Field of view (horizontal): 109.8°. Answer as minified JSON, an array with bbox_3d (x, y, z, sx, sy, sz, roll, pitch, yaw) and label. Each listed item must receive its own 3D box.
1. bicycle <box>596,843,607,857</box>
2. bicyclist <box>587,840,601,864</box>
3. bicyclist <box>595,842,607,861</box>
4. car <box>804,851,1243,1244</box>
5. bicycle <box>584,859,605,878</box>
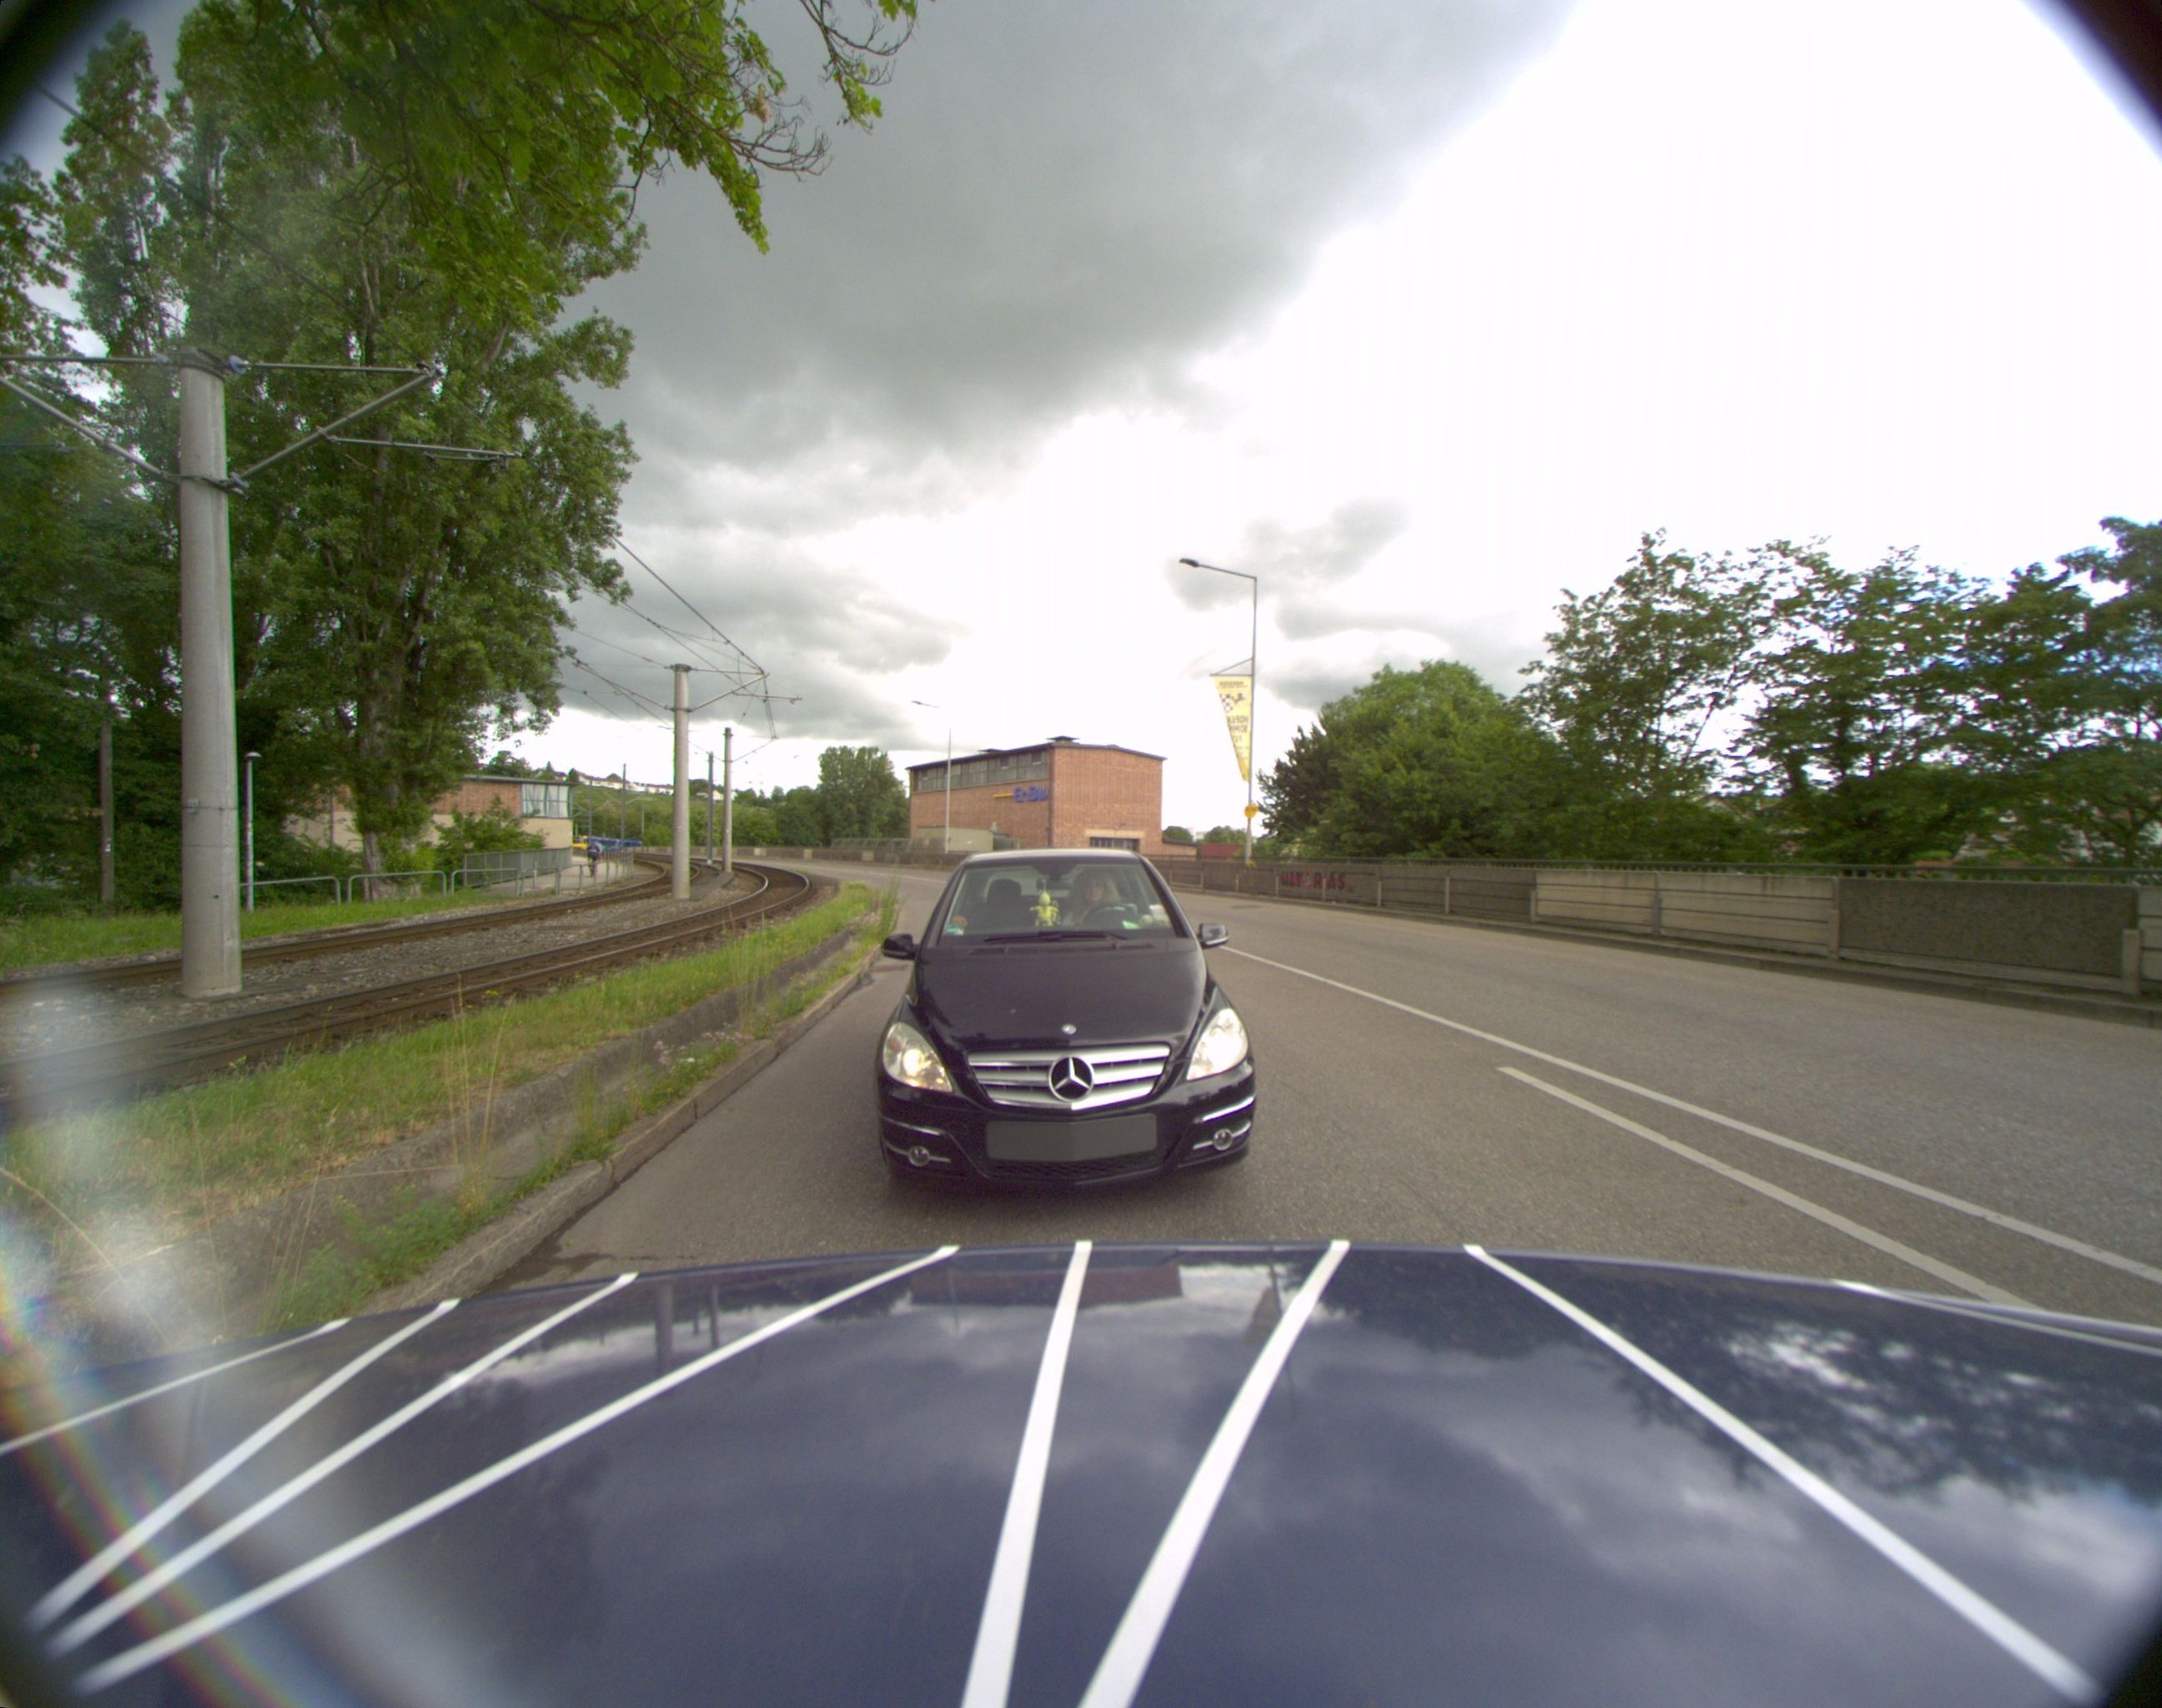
[{"bbox_3d":[-36.309,-0.273,57.536,0.428,1.044,2.074,-2,1,-40],"label":"bicycle"},{"bbox_3d":[-21.683,-0.097,33.830,0.417,1.077,0.474,0,1,-14],"label":"bicyclist"},{"bbox_3d":[-36.273,-0.184,57.450,0.596,1.352,0.908,-2,1,-41],"label":"bicyclist"},{"bbox_3d":[-0.268,0.831,5.251,1.861,1.612,3.999,0,1,-1],"label":"car"},{"bbox_3d":[-21.664,0.633,33.871,0.348,0.790,1.545,0,0,-15],"label":"bicycle"}]
